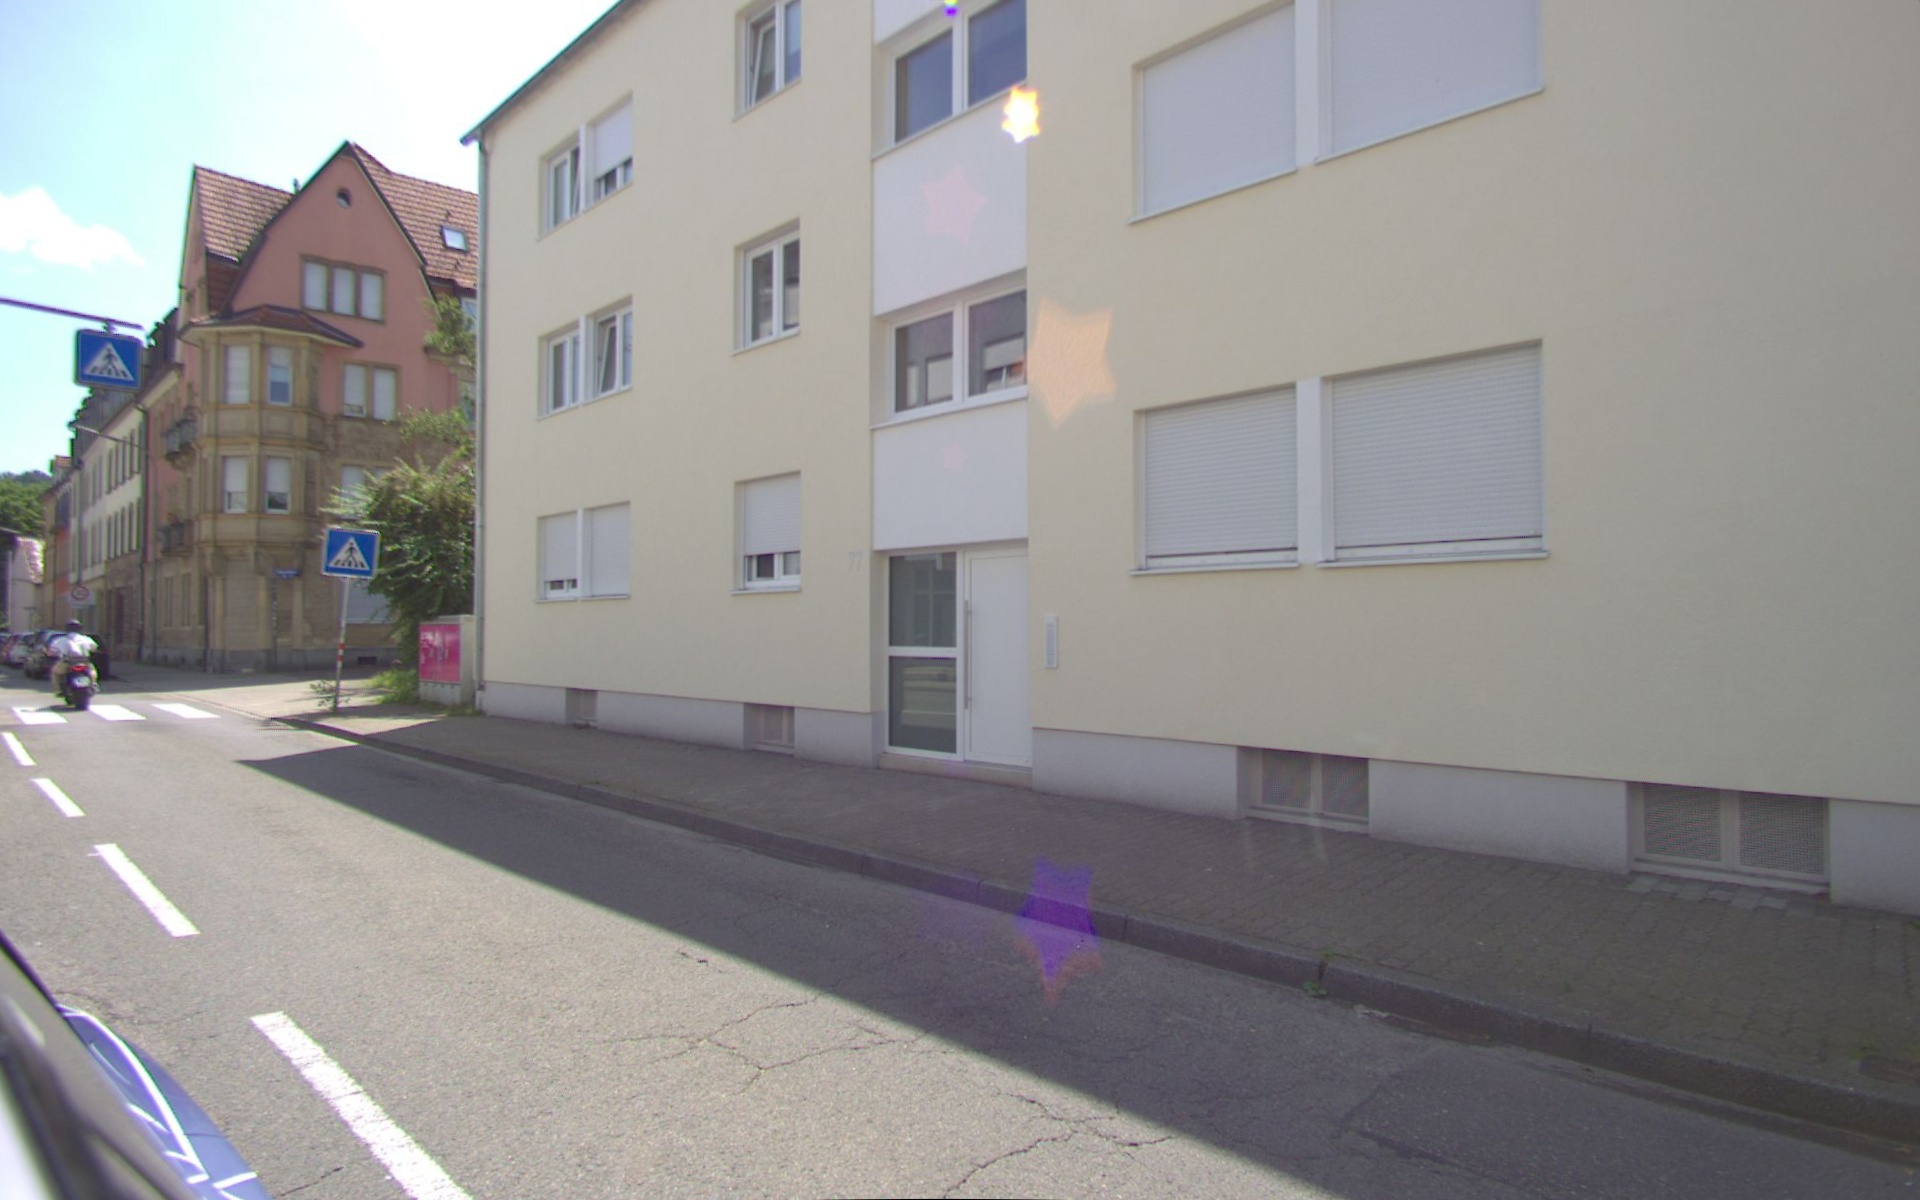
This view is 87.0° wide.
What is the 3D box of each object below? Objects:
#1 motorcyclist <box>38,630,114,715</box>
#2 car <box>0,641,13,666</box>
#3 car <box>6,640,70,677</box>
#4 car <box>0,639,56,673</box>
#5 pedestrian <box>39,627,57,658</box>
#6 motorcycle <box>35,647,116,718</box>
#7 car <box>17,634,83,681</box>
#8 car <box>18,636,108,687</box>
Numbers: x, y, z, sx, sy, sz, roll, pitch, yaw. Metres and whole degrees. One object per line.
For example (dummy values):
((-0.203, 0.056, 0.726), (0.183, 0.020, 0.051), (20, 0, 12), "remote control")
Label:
((-16.090, 1.292, 18.420), (1.203, 1.491, 0.906), (-2, -3, 43), "motorcyclist")
((-59.126, 3.242, 61.707), (3.853, 1.470, 1.691), (-2, -5, 43), "car")
((-37.584, 2.356, 41.235), (4.019, 1.442, 1.616), (-2, -5, 44), "car")
((-41.787, 2.507, 45.308), (3.494, 1.453, 1.581), (-2, -4, 42), "car")
((-54.094, 2.501, 60.024), (0.764, 1.784, 0.760), (-3, -2, 43), "pedestrian")
((-16.152, 1.474, 18.462), (2.208, 1.185, 0.886), (-2, -3, 43), "motorcycle")
((-31.208, 1.930, 34.703), (2.696, 1.534, 1.421), (-2, -3, 43), "car")
((-28.114, 1.874, 31.674), (4.636, 1.469, 1.762), (-2, -3, 45), "car")
